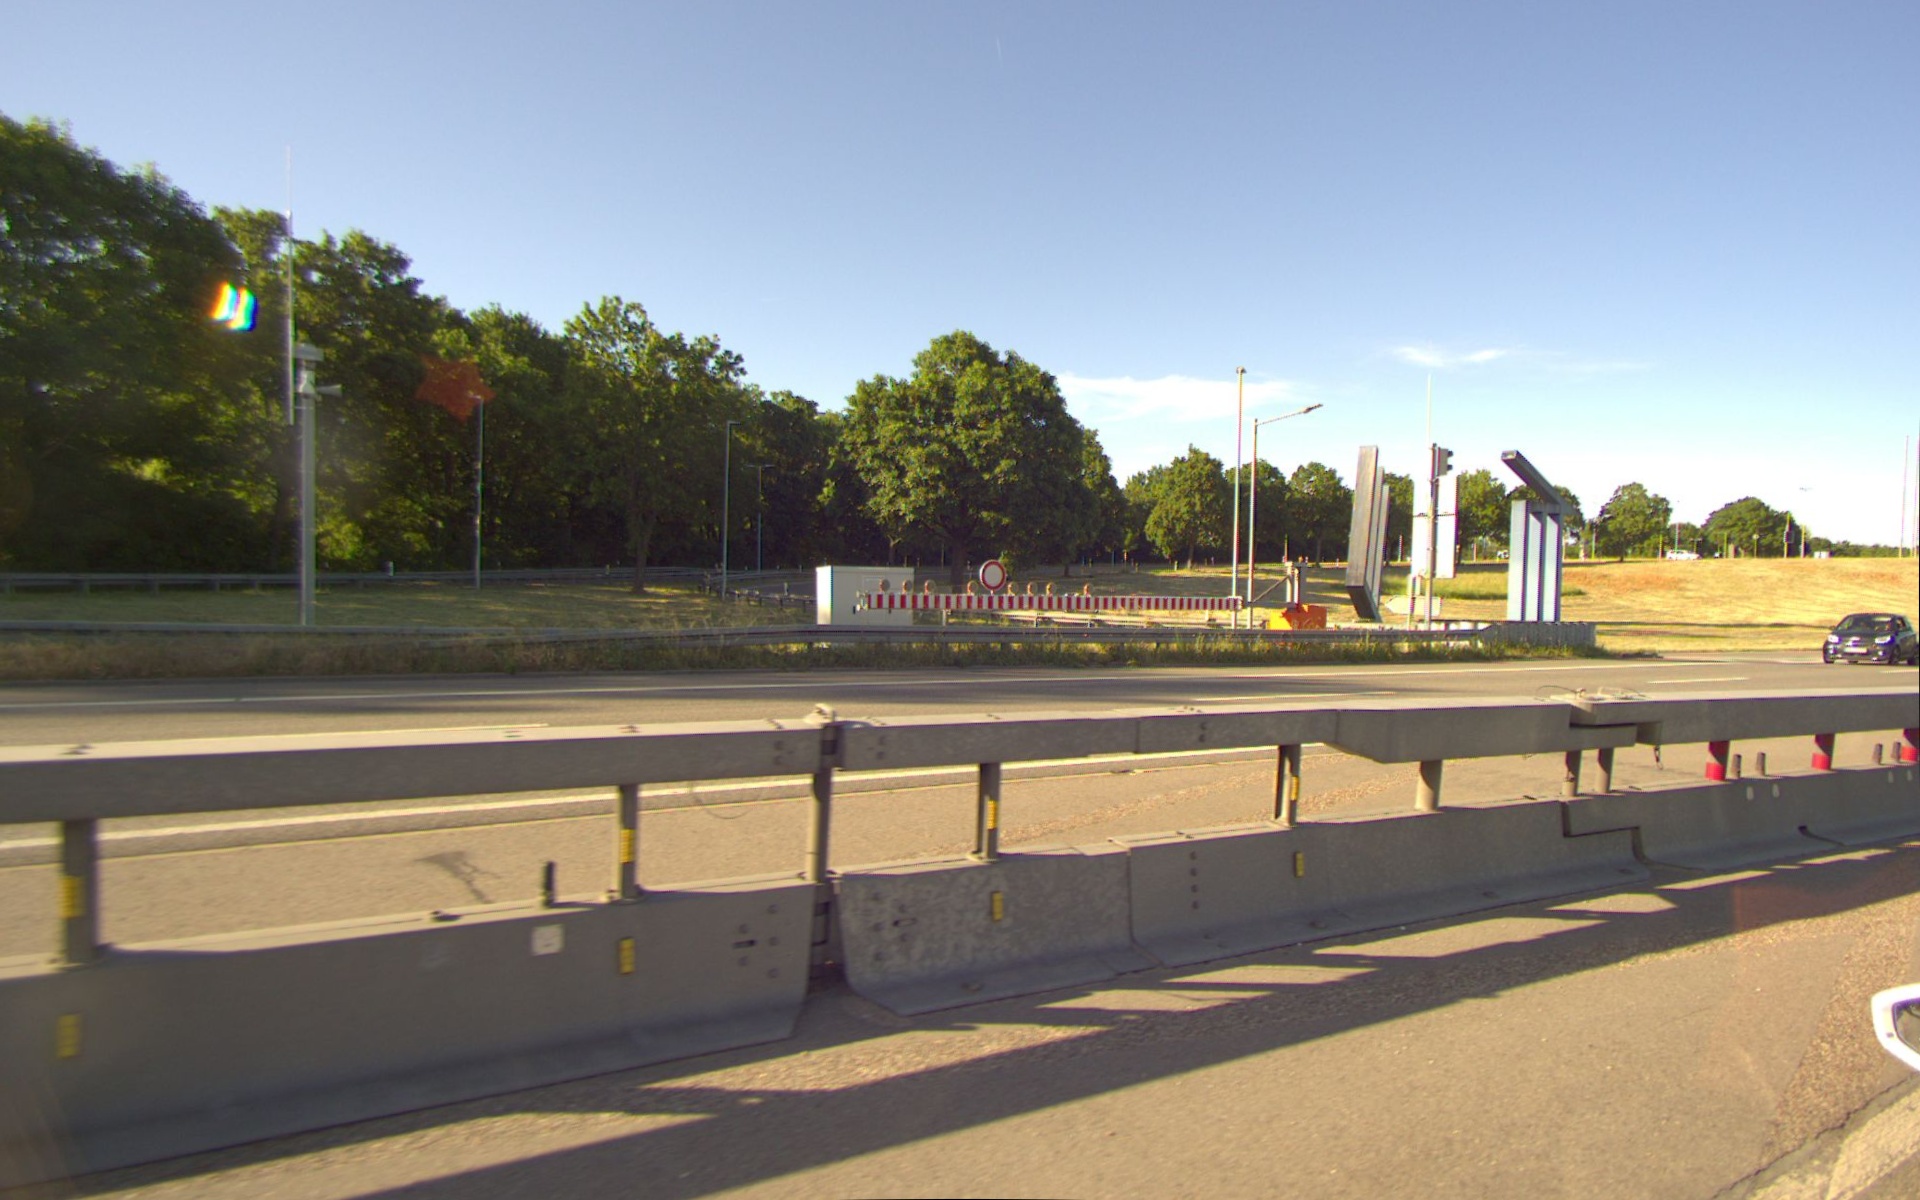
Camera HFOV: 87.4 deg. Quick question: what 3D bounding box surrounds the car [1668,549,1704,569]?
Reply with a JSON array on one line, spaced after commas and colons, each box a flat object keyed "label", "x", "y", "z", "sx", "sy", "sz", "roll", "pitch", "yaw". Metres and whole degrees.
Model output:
[{"label": "car", "x": 111.760, "y": -6.267, "z": 154.669, "sx": 2.044, "sy": 2.843, "sz": 4.314, "roll": 1, "pitch": 1, "yaw": -11}]

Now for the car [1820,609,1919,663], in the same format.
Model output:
[{"label": "car", "x": 27.760, "y": 1.067, "z": 30.513, "sx": 3.355, "sy": 1.505, "sz": 1.600, "roll": 1, "pitch": 0, "yaw": -33}]
